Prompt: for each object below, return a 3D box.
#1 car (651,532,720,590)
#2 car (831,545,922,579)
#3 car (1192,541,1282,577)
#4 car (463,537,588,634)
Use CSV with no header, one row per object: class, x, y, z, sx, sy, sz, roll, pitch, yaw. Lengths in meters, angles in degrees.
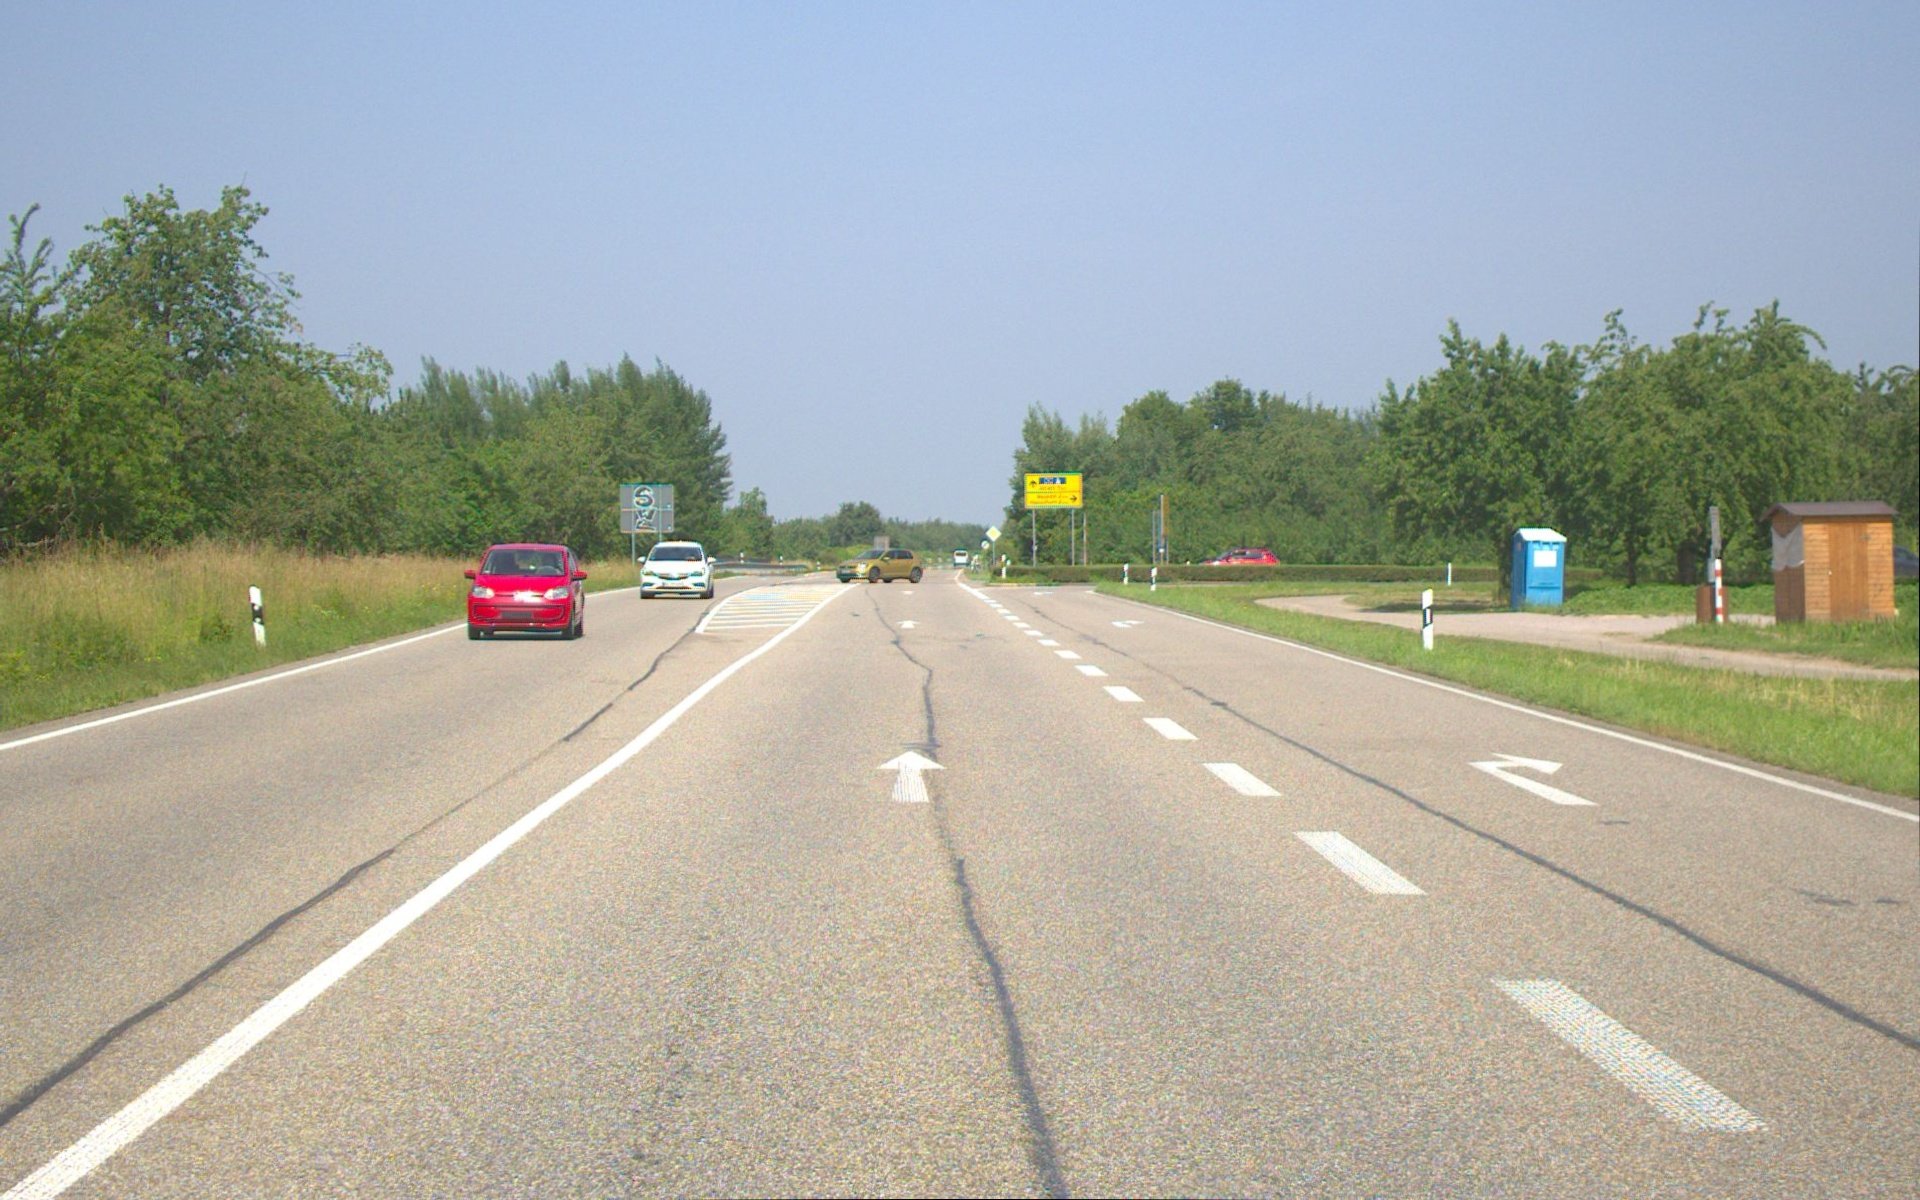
car,-7.157,-1.036,90.004,1.674,1.489,4.137,1,1,-3
car,-3.480,-1.599,143.835,1.701,1.411,3.816,1,1,41
car,12.126,-1.801,150.551,3.739,1.487,1.672,1,1,-2
car,-6.777,-0.253,53.944,1.625,1.452,3.622,1,1,-2
